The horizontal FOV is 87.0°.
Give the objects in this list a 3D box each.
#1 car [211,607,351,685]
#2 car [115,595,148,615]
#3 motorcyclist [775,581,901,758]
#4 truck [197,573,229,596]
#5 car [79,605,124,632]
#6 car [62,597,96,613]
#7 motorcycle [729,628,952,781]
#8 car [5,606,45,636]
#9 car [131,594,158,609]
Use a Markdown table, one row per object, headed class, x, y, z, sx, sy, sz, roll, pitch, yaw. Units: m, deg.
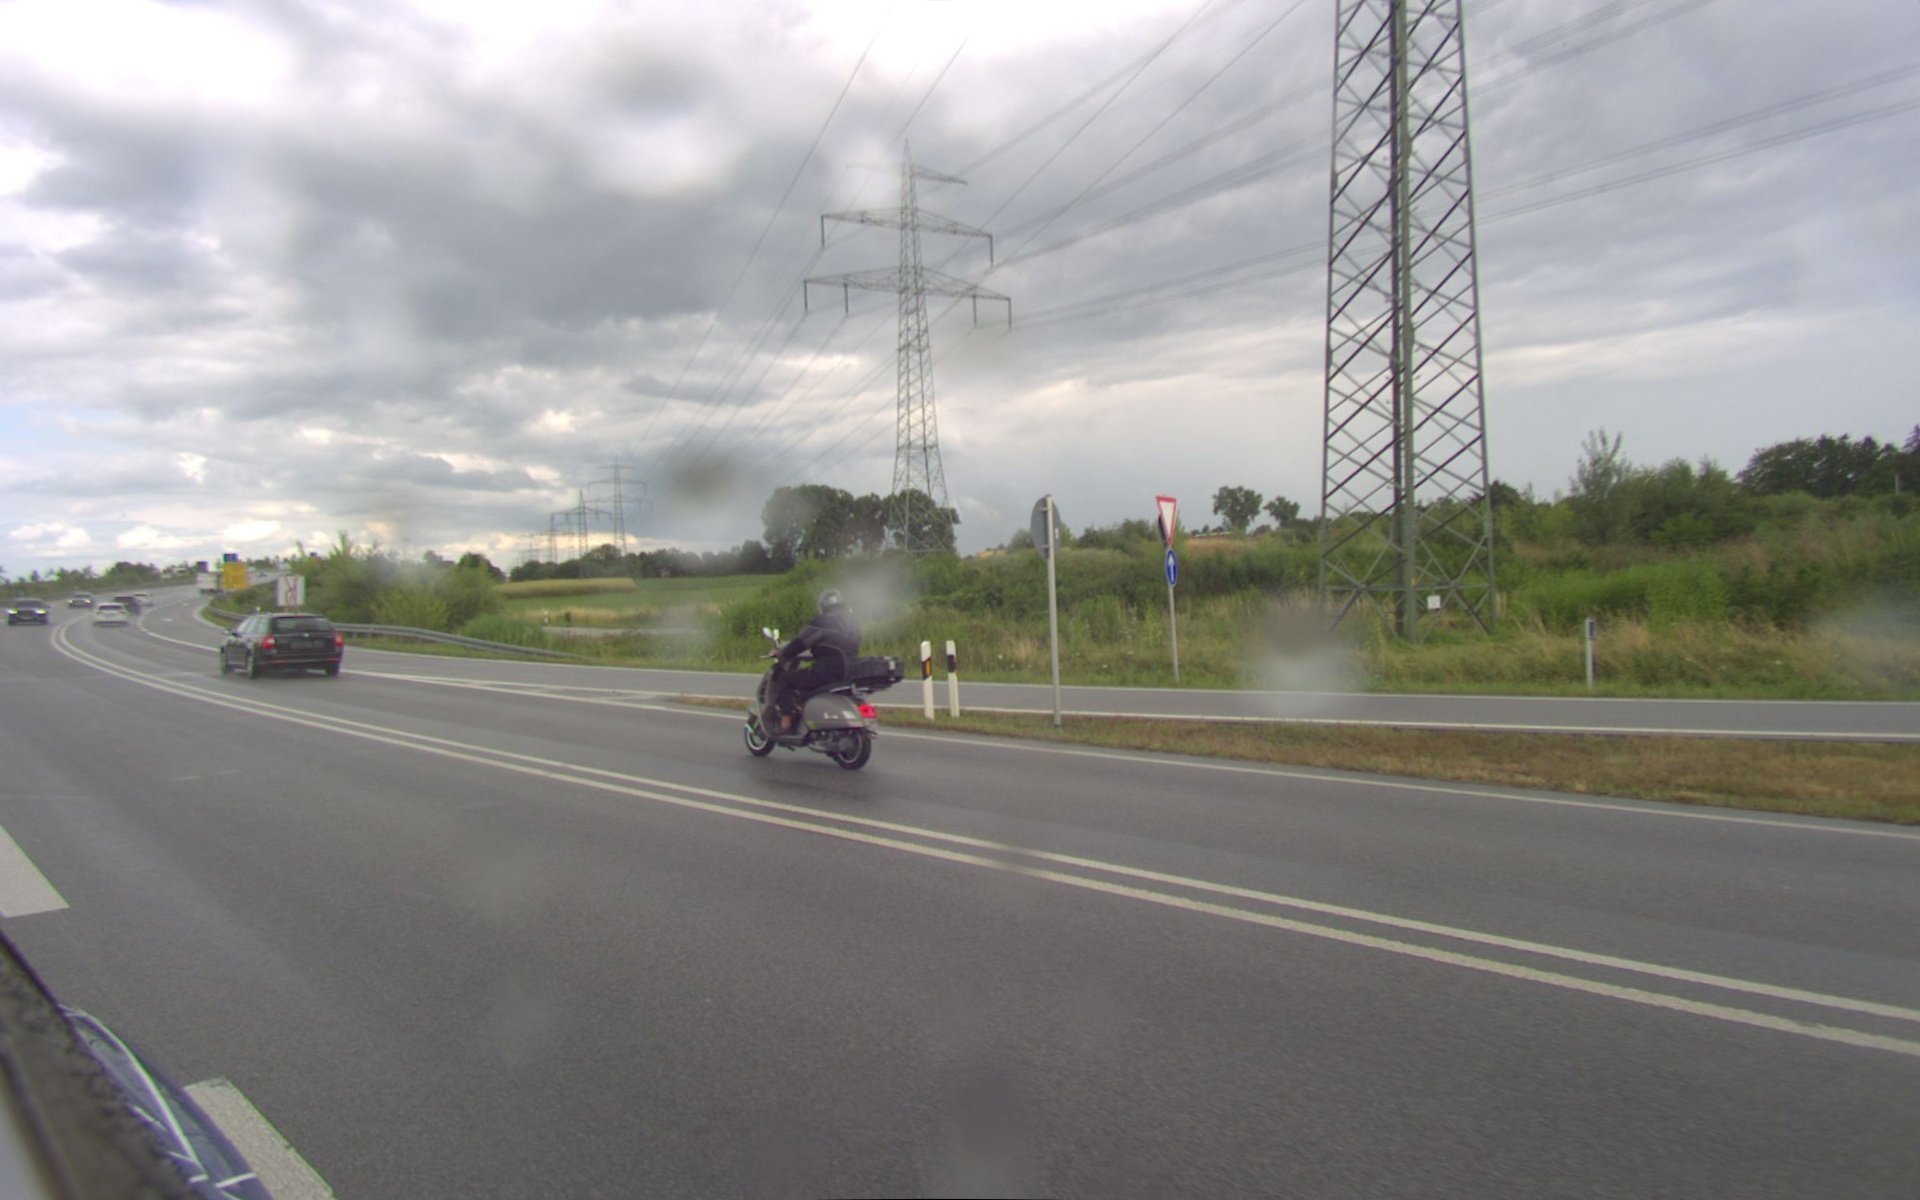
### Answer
| class | x | y | z | sx | sy | sz | roll | pitch | yaw |
| --- | --- | --- | --- | --- | --- | --- | --- | --- | --- |
| car | -15.715 | 0.993 | 23.338 | 4.225 | 1.606 | 1.780 | -1 | 0 | 43 |
| car | -68.924 | 0.418 | 84.188 | 1.775 | 1.586 | 4.270 | 1 | 0 | -35 |
| motorcyclist | -1.136 | 0.607 | 9.420 | 0.824 | 1.547 | 0.793 | -2 | 0 | 41 |
| truck | -103.939 | -2.135 | 140.800 | 2.224 | 3.179 | 6.712 | 1 | 0 | -25 |
| car | -52.902 | 1.100 | 62.327 | 4.612 | 1.491 | 1.686 | 1 | 2 | 44 |
| car | -86.014 | 0.458 | 98.824 | 1.720 | 1.508 | 4.062 | -2 | 1 | -31 |
| motorcycle | -1.161 | 0.896 | 9.443 | 2.184 | 1.247 | 0.793 | -2 | 0 | 42 |
| car | -59.714 | 1.327 | 64.626 | 1.770 | 1.782 | 4.003 | -2 | 1 | -44 |
| car | -85.034 | 0.143 | 105.613 | 1.656 | 1.468 | 4.087 | -2 | 1 | -32 |
